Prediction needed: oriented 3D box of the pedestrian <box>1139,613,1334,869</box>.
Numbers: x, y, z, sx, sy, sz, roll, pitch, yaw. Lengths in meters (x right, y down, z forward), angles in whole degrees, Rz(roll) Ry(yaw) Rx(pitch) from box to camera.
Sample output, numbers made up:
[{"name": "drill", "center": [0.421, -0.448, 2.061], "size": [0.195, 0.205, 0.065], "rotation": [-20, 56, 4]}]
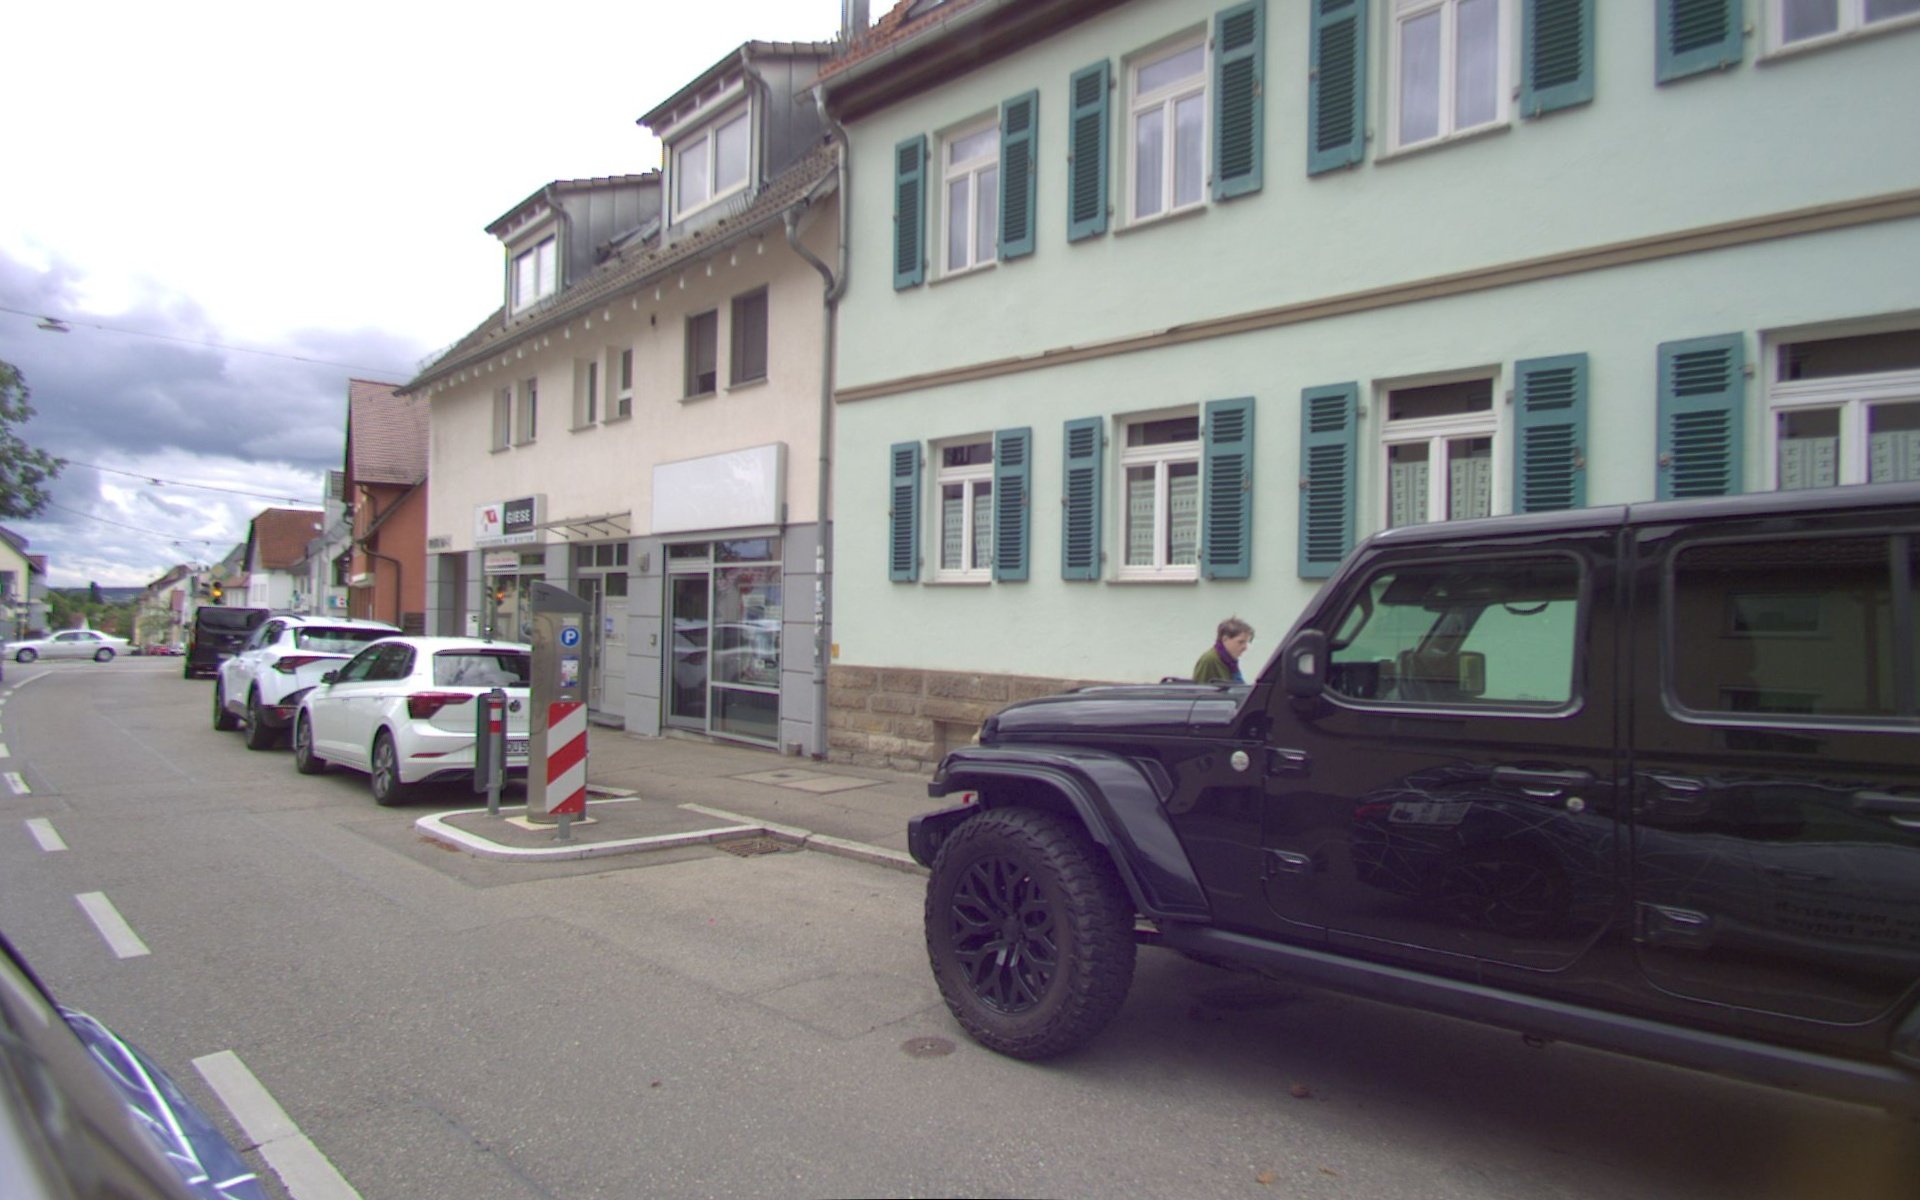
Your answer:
[{"name": "pedestrian", "center": [1.821, 0.851, 6.677], "size": [0.976, 1.511, 0.797], "rotation": [-1, 0, 44]}]

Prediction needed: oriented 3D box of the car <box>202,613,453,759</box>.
[{"name": "car", "center": [-8.814, 1.034, 13.896], "size": [1.974, 1.645, 4.861], "rotation": [1, -2, -44]}]

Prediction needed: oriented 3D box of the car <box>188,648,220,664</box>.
[{"name": "car", "center": [-72.225, 5.365, 96.694], "size": [4.002, 1.456, 1.816], "rotation": [-3, -6, 45]}]

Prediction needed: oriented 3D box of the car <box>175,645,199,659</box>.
[{"name": "car", "center": [-82.320, 5.507, 107.804], "size": [1.629, 1.458, 3.815], "rotation": [4, -5, -43]}]

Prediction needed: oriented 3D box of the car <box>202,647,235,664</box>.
[{"name": "car", "center": [-66.560, 4.998, 90.856], "size": [1.815, 1.456, 4.472], "rotation": [5, -6, -42]}]

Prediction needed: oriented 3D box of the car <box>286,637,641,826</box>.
[{"name": "car", "center": [-5.054, 1.114, 10.076], "size": [3.920, 1.447, 1.975], "rotation": [-2, -2, 44]}]

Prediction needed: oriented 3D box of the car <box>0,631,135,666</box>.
[{"name": "car", "center": [-40.019, 2.197, 45.347], "size": [2.001, 1.456, 4.501], "rotation": [-3, -5, 45]}]

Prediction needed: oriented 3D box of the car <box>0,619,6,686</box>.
[{"name": "car", "center": [-23.411, 1.248, 23.414], "size": [1.695, 1.608, 4.006], "rotation": [-1, -2, -40]}]

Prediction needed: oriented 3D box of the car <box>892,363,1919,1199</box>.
[{"name": "car", "center": [2.158, 0.602, 3.159], "size": [4.668, 2.029, 1.973], "rotation": [-2, -5, 41]}]

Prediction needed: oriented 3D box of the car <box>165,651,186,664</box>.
[{"name": "car", "center": [-86.353, 6.337, 111.357], "size": [1.629, 1.458, 3.780], "rotation": [3, -5, -40]}]

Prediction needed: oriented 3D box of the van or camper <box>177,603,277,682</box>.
[{"name": "van or camper", "center": [-20.886, 1.224, 28.848], "size": [2.046, 2.021, 4.868], "rotation": [4, -4, -36]}]

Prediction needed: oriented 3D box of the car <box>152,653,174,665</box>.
[{"name": "car", "center": [-96.772, 7.157, 122.834], "size": [1.681, 1.421, 3.739], "rotation": [6, -6, -43]}]
